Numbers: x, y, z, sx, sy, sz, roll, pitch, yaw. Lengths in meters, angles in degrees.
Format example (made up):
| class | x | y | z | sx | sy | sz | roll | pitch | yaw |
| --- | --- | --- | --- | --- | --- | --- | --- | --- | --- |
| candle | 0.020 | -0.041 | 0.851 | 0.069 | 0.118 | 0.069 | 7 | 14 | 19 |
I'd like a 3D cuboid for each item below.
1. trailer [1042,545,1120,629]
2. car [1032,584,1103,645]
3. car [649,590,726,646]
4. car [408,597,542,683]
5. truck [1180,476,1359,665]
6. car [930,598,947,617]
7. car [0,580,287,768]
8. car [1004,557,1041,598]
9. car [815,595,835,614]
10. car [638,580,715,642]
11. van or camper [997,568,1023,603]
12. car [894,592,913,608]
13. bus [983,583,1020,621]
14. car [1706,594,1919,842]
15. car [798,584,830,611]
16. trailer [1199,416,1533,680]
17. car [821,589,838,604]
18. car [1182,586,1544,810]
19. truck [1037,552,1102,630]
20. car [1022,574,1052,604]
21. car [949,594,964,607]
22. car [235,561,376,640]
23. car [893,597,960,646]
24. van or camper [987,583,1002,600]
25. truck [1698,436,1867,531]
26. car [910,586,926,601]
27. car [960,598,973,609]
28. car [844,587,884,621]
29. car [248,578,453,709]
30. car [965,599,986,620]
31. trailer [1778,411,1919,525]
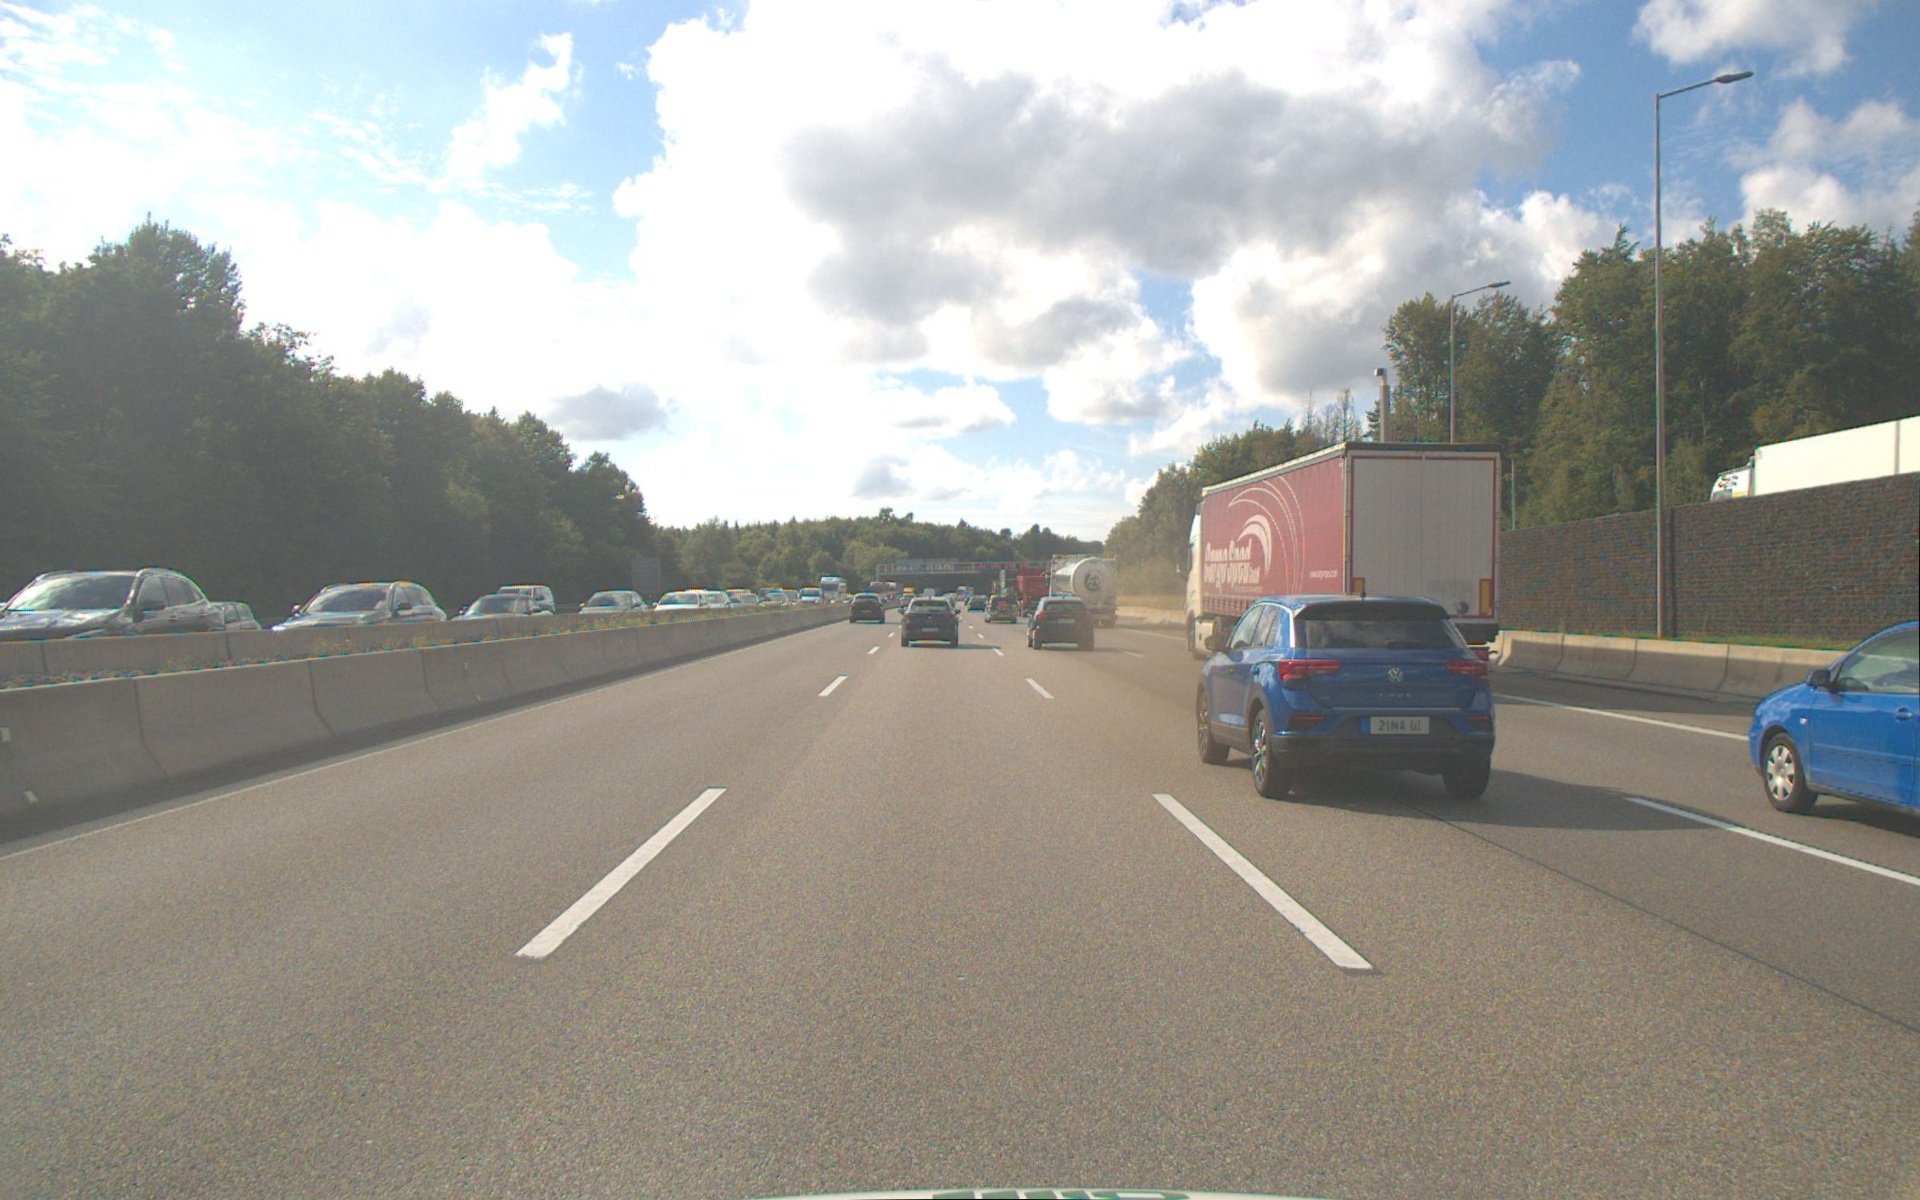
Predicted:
| class | x | y | z | sx | sy | sz | roll | pitch | yaw |
| --- | --- | --- | --- | --- | --- | --- | --- | --- | --- |
| trailer | 6.297 | -0.534 | 88.216 | 2.974 | 4.086 | 12.240 | 0 | -1 | -1 |
| car | 3.118 | 0.442 | 48.676 | 1.762 | 1.673 | 3.999 | 1 | -1 | -1 |
| car | -9.778 | 0.683 | 59.651 | 1.917 | 1.897 | 4.550 | 1 | -2 | 1 |
| car | -10.891 | 0.918 | 37.429 | 1.781 | 1.825 | 3.999 | 1 | -2 | 0 |
| truck | 7.272 | -0.574 | 39.663 | 3.018 | 4.135 | 6.067 | 1 | -2 | -1 |
| car | -2.488 | 0.869 | 194.218 | 1.953 | 2.049 | 3.998 | -1 | -2 | -1 |
| car | -10.283 | 0.873 | 20.489 | 1.952 | 2.049 | 4.547 | 1 | -2 | 0 |
| car | 5.063 | -1.788 | 134.489 | 2.808 | 3.044 | 5.148 | 1 | -2 | 0 |
| car | -15.845 | 0.559 | 194.370 | 1.953 | 2.049 | 3.999 | 1 | -2 | 0 |
| car | -9.896 | 0.437 | 58.101 | 1.952 | 2.049 | 3.999 | 1 | -2 | 0 |
| van or camper | 4.822 | -1.389 | 160.784 | 2.303 | 3.199 | 5.710 | 1 | -2 | 0 |
| car | -6.682 | 0.008 | 194.708 | 2.111 | 1.807 | 3.999 | 1 | -1 | -1 |
| bus | 2.379 | 0.132 | 95.374 | 1.953 | 2.049 | 3.999 | 1 | -2 | -1 |
| car | 6.828 | 0.746 | 10.972 | 1.680 | 1.537 | 4.300 | 0 | 0 | -2 |
| car | -11.333 | -0.162 | 128.769 | 1.952 | 1.897 | 4.550 | 1 | -2 | 1 |
| trailer | 7.383 | -0.615 | 32.901 | 2.976 | 4.106 | 13.885 | 1 | -2 | -1 |
| car | -18.558 | -0.476 | 235.144 | 1.952 | 2.049 | 4.000 | 0 | 0 | 0 |
| car | 3.191 | 0.682 | 14.136 | 1.885 | 1.568 | 4.644 | 1 | 1 | -1 |
| truck | 6.147 | -0.450 | 93.921 | 2.984 | 4.233 | 7.123 | 1 | -1 | -2 |
| car | 5.773 | -0.802 | 124.475 | 1.953 | 2.049 | 3.998 | 1 | -2 | -1 |
| car | -0.495 | 0.029 | 216.239 | 1.953 | 1.646 | 3.999 | 0 | 0 | -1 |
| car | -18.197 | 0.071 | 46.245 | 1.952 | 2.049 | 4.853 | 1 | -2 | 0 |
| car | -1.052 | 0.662 | 49.972 | 1.700 | 1.389 | 3.995 | 1 | -1 | -5 |
| van or camper | 5.100 | -1.244 | 243.364 | 2.041 | 2.536 | 4.224 | 0 | 0 | -1 |
| truck | 20.161 | -2.807 | 40.750 | 2.103 | 2.049 | 3.999 | -1 | 0 | -1 |
| car | -5.703 | -0.871 | 223.416 | 1.954 | 2.049 | 3.997 | 1 | 0 | -3 |
| car | 0.963 | 0.576 | 260.122 | 1.953 | 1.646 | 3.999 | 0 | 0 | -1 |
| car | -5.208 | 0.217 | 90.250 | 1.953 | 1.807 | 4.000 | 0 | 0 | -1 |
| car | -10.313 | 0.748 | 28.332 | 1.952 | 2.049 | 3.999 | 1 | -2 | 0 |
| car | 1.547 | 0.962 | 166.842 | 1.953 | 2.049 | 3.999 | 1 | -1 | -1 |
| trailer | 20.247 | -2.779 | 35.616 | 2.087 | 2.049 | 6.233 | -1 | 0 | -1 |
